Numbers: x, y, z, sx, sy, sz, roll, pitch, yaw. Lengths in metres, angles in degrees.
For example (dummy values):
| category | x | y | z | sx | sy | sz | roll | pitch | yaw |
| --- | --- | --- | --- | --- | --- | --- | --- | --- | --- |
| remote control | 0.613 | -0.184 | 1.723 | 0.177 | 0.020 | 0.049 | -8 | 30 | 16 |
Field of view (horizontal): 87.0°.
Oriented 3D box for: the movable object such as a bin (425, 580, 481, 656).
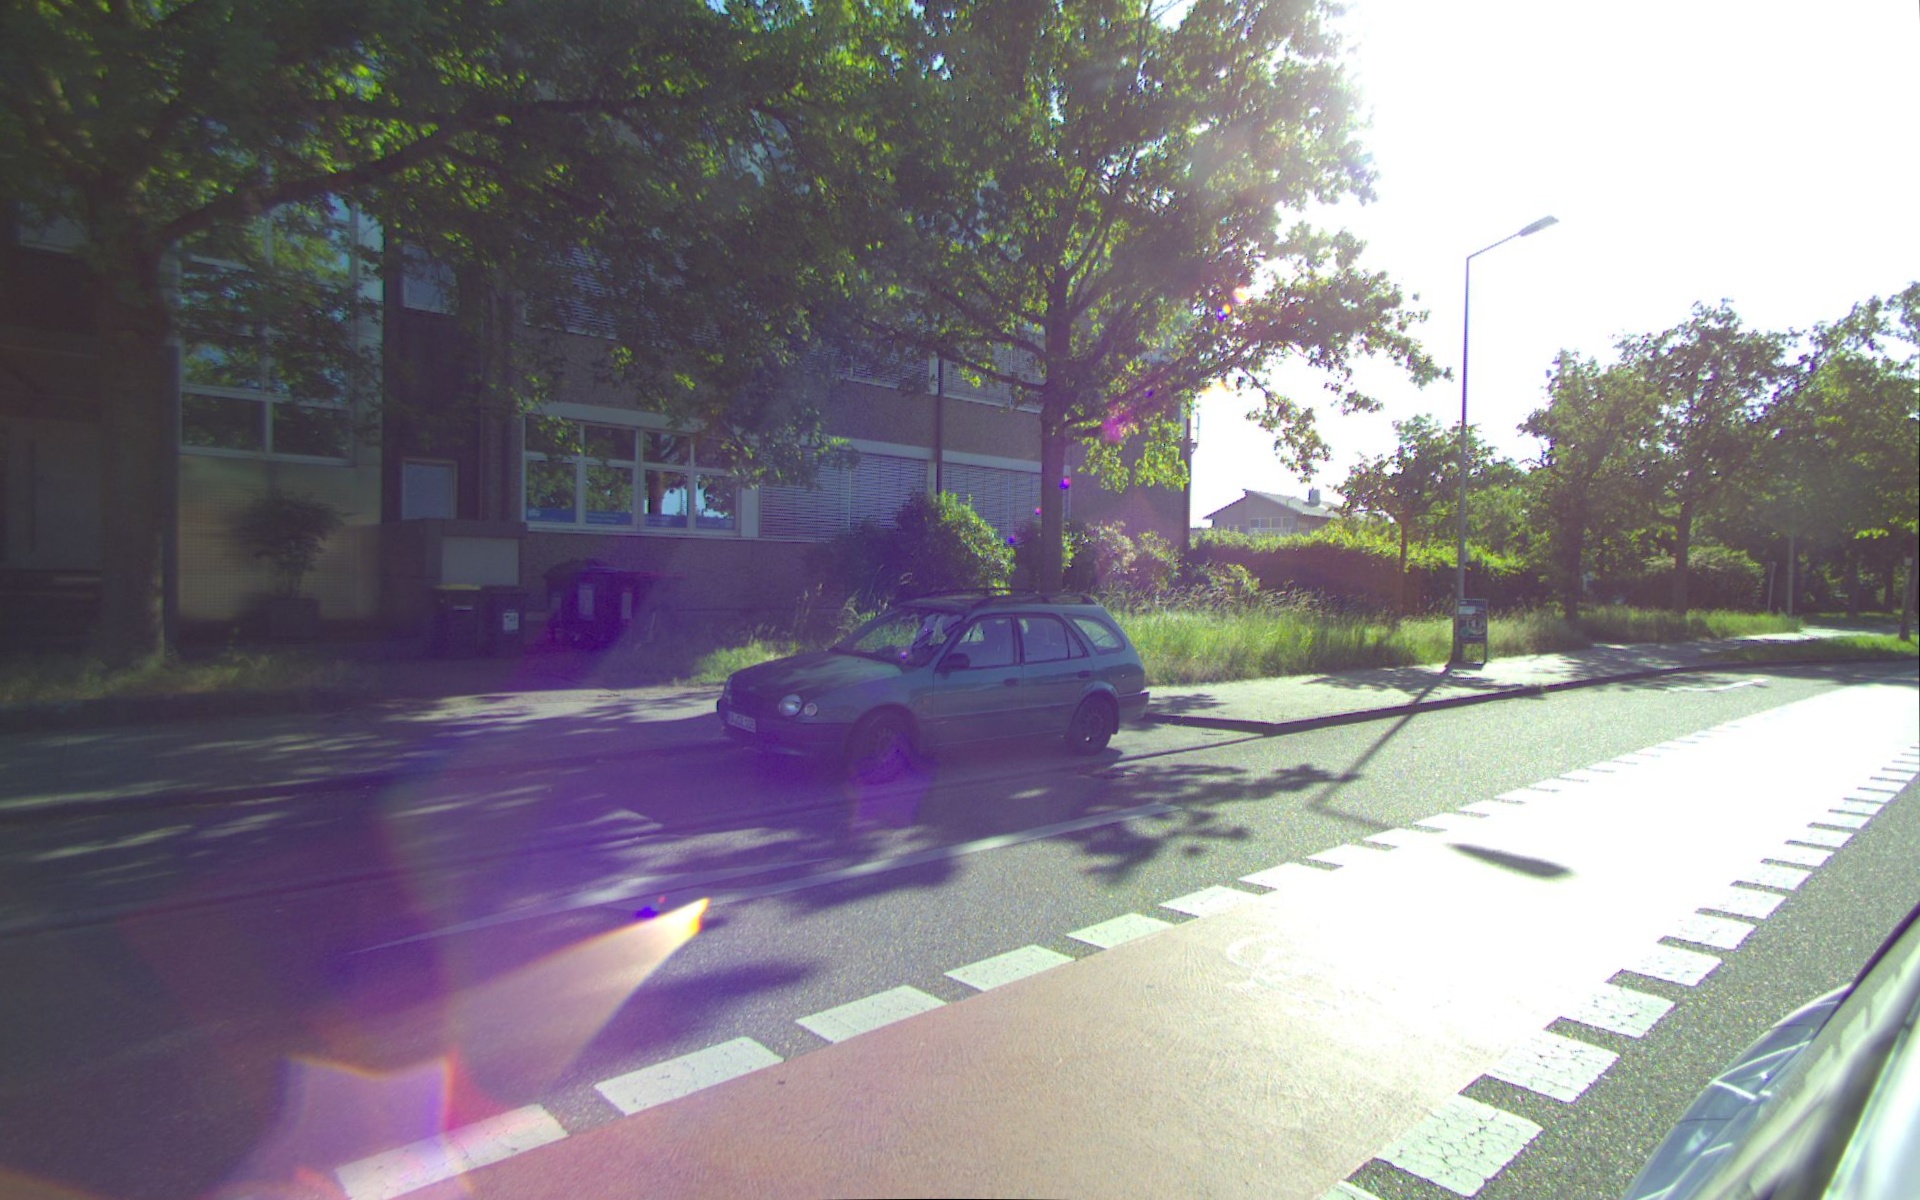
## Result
| category | x | y | z | sx | sy | sz | roll | pitch | yaw |
| --- | --- | --- | --- | --- | --- | --- | --- | --- | --- |
| movable object such as a bin | -7.267 | 0.239 | 14.501 | 0.571 | 1.045 | 0.713 | 0 | 1 | -41 |

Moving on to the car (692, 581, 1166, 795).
| category | x | y | z | sx | sy | sz | roll | pitch | yaw |
| --- | --- | --- | --- | --- | --- | --- | --- | --- | --- |
| car | -0.118 | 0.588 | 9.067 | 4.129 | 1.446 | 1.596 | -1 | 3 | -40 |

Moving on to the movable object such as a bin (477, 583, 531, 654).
| category | x | y | z | sx | sy | sz | roll | pitch | yaw |
| --- | --- | --- | --- | --- | --- | --- | --- | --- | --- |
| movable object such as a bin | -6.764 | 0.262 | 15.002 | 0.566 | 1.020 | 0.629 | -1 | 1 | -41 |
